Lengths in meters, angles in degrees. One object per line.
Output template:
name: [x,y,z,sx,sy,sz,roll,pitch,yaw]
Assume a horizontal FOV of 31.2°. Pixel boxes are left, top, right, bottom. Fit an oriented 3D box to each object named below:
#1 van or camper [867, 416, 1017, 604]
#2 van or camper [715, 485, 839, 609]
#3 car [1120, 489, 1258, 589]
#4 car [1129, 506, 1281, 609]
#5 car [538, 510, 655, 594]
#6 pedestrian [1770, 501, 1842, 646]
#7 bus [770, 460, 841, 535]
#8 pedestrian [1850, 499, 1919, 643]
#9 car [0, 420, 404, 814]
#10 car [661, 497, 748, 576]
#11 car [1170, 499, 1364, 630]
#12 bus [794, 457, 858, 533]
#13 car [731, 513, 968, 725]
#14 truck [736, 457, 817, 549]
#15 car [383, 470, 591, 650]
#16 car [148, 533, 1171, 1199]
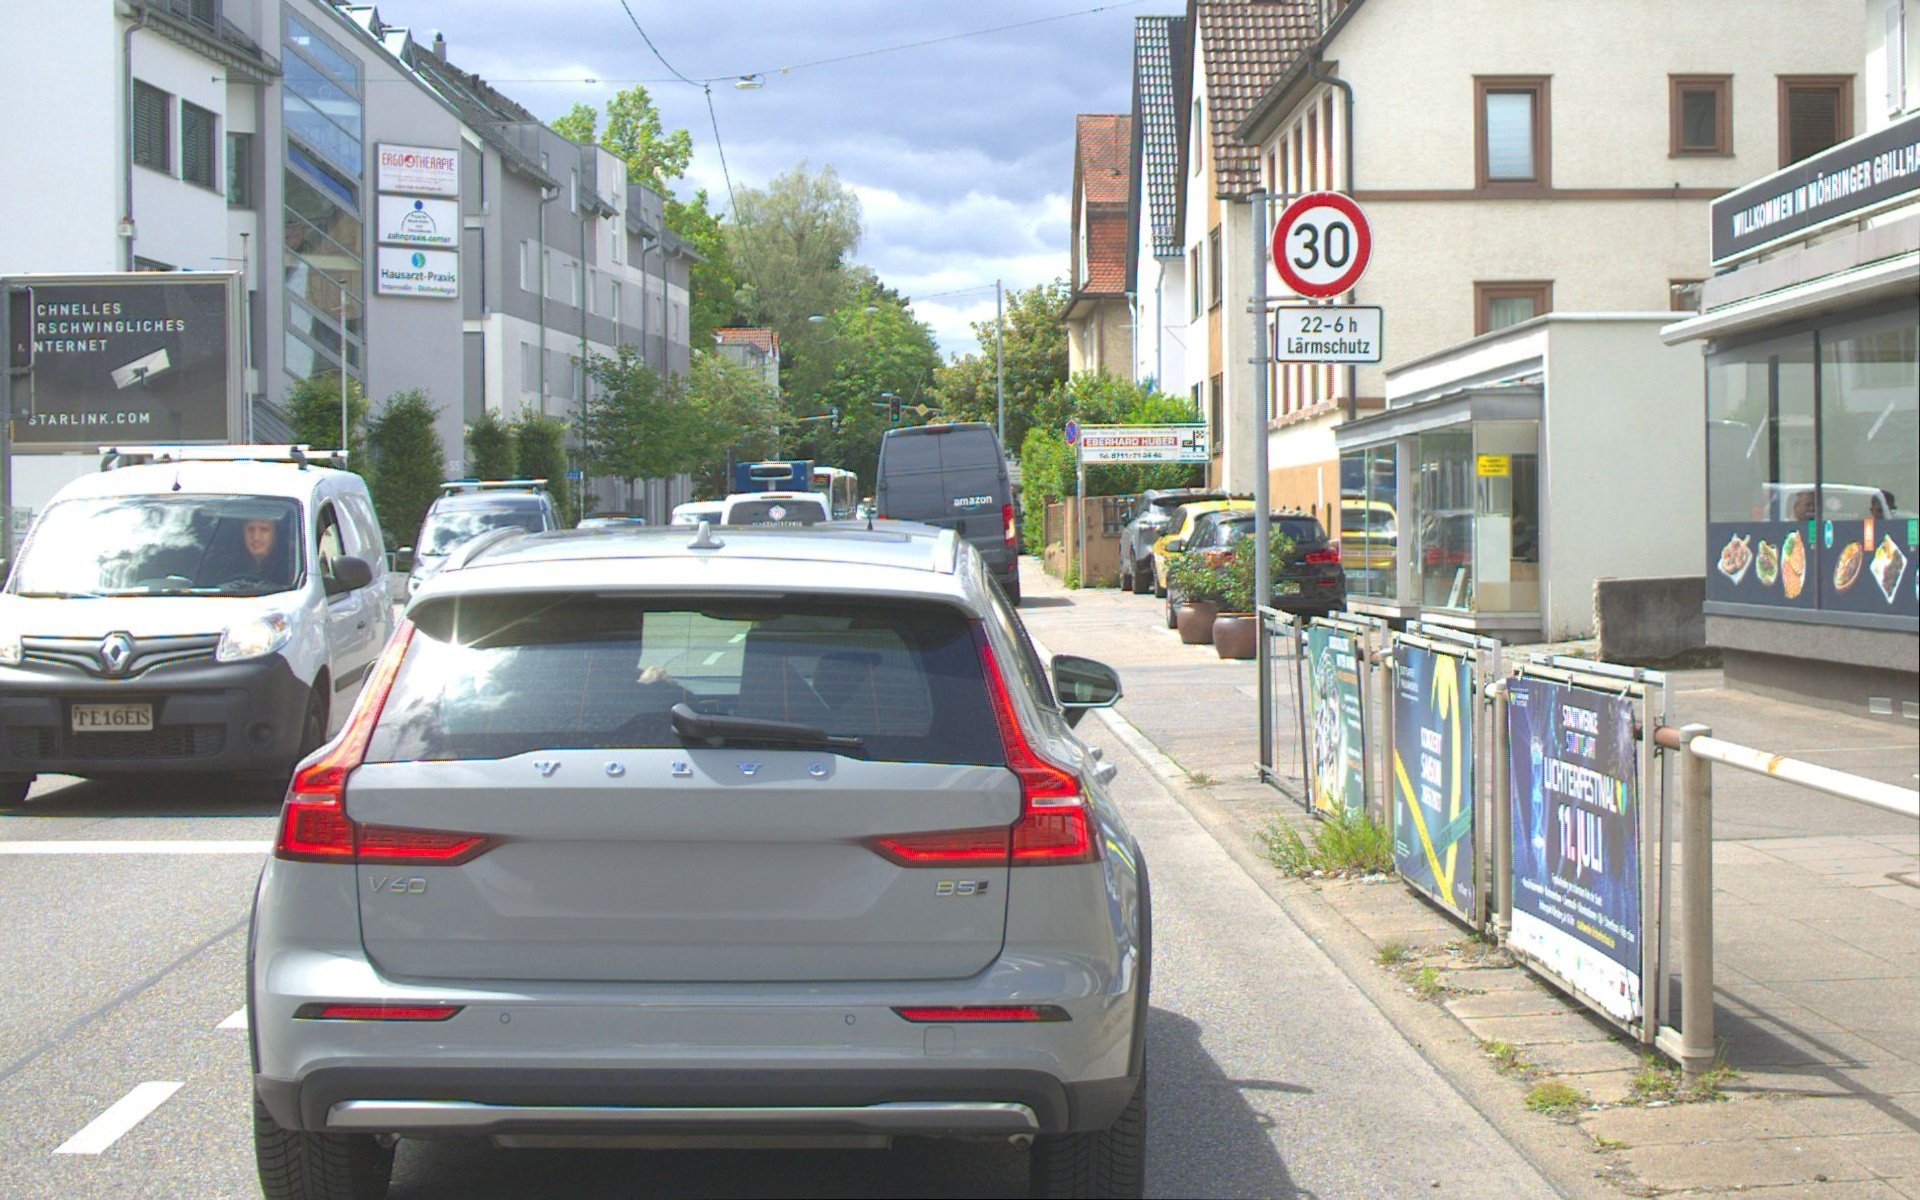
van or camper: [-0.275,-1.372,52.072,2.123,2.677,4.781,-1,2,0]
van or camper: [-2.806,-0.791,53.391,1.819,1.828,4.000,0,-1,-2]
car: [3.567,-0.924,54.099,1.882,1.495,3.971,0,0,0]
car: [3.505,-0.591,49.733,1.882,1.411,3.971,0,0,0]
car: [-6.490,-0.888,61.723,1.762,1.421,4.001,-1,2,-2]
pedestrian: [6.172,-0.198,25.083,0.414,1.048,0.368,-1,1,-2]
bus: [-5.705,-3.806,127.806,2.276,2.659,7.430,-1,2,0]
pedestrian: [6.879,-0.219,25.534,0.414,1.048,0.368,-1,1,-2]
car: [-4.248,0.046,18.822,1.838,1.911,4.156,0,1,-2]
car: [-6.081,-1.504,82.196,1.797,1.810,4.000,0,0,0]
car: [3.556,-0.399,40.448,1.710,1.459,4.000,0,0,-3]
bus: [-5.331,-4.202,137.306,2.276,2.891,7.080,-1,2,0]
car: [-0.825,0.100,25.911,1.650,1.477,3.608,0,1,-2]
truck: [-5.930,-3.166,111.885,2.276,2.876,7.080,-1,2,0]
car: [-5.361,-0.474,39.458,1.838,1.911,4.532,-1,1,-2]
car: [-0.597,0.588,8.204,1.835,1.481,4.001,0,1,-2]
